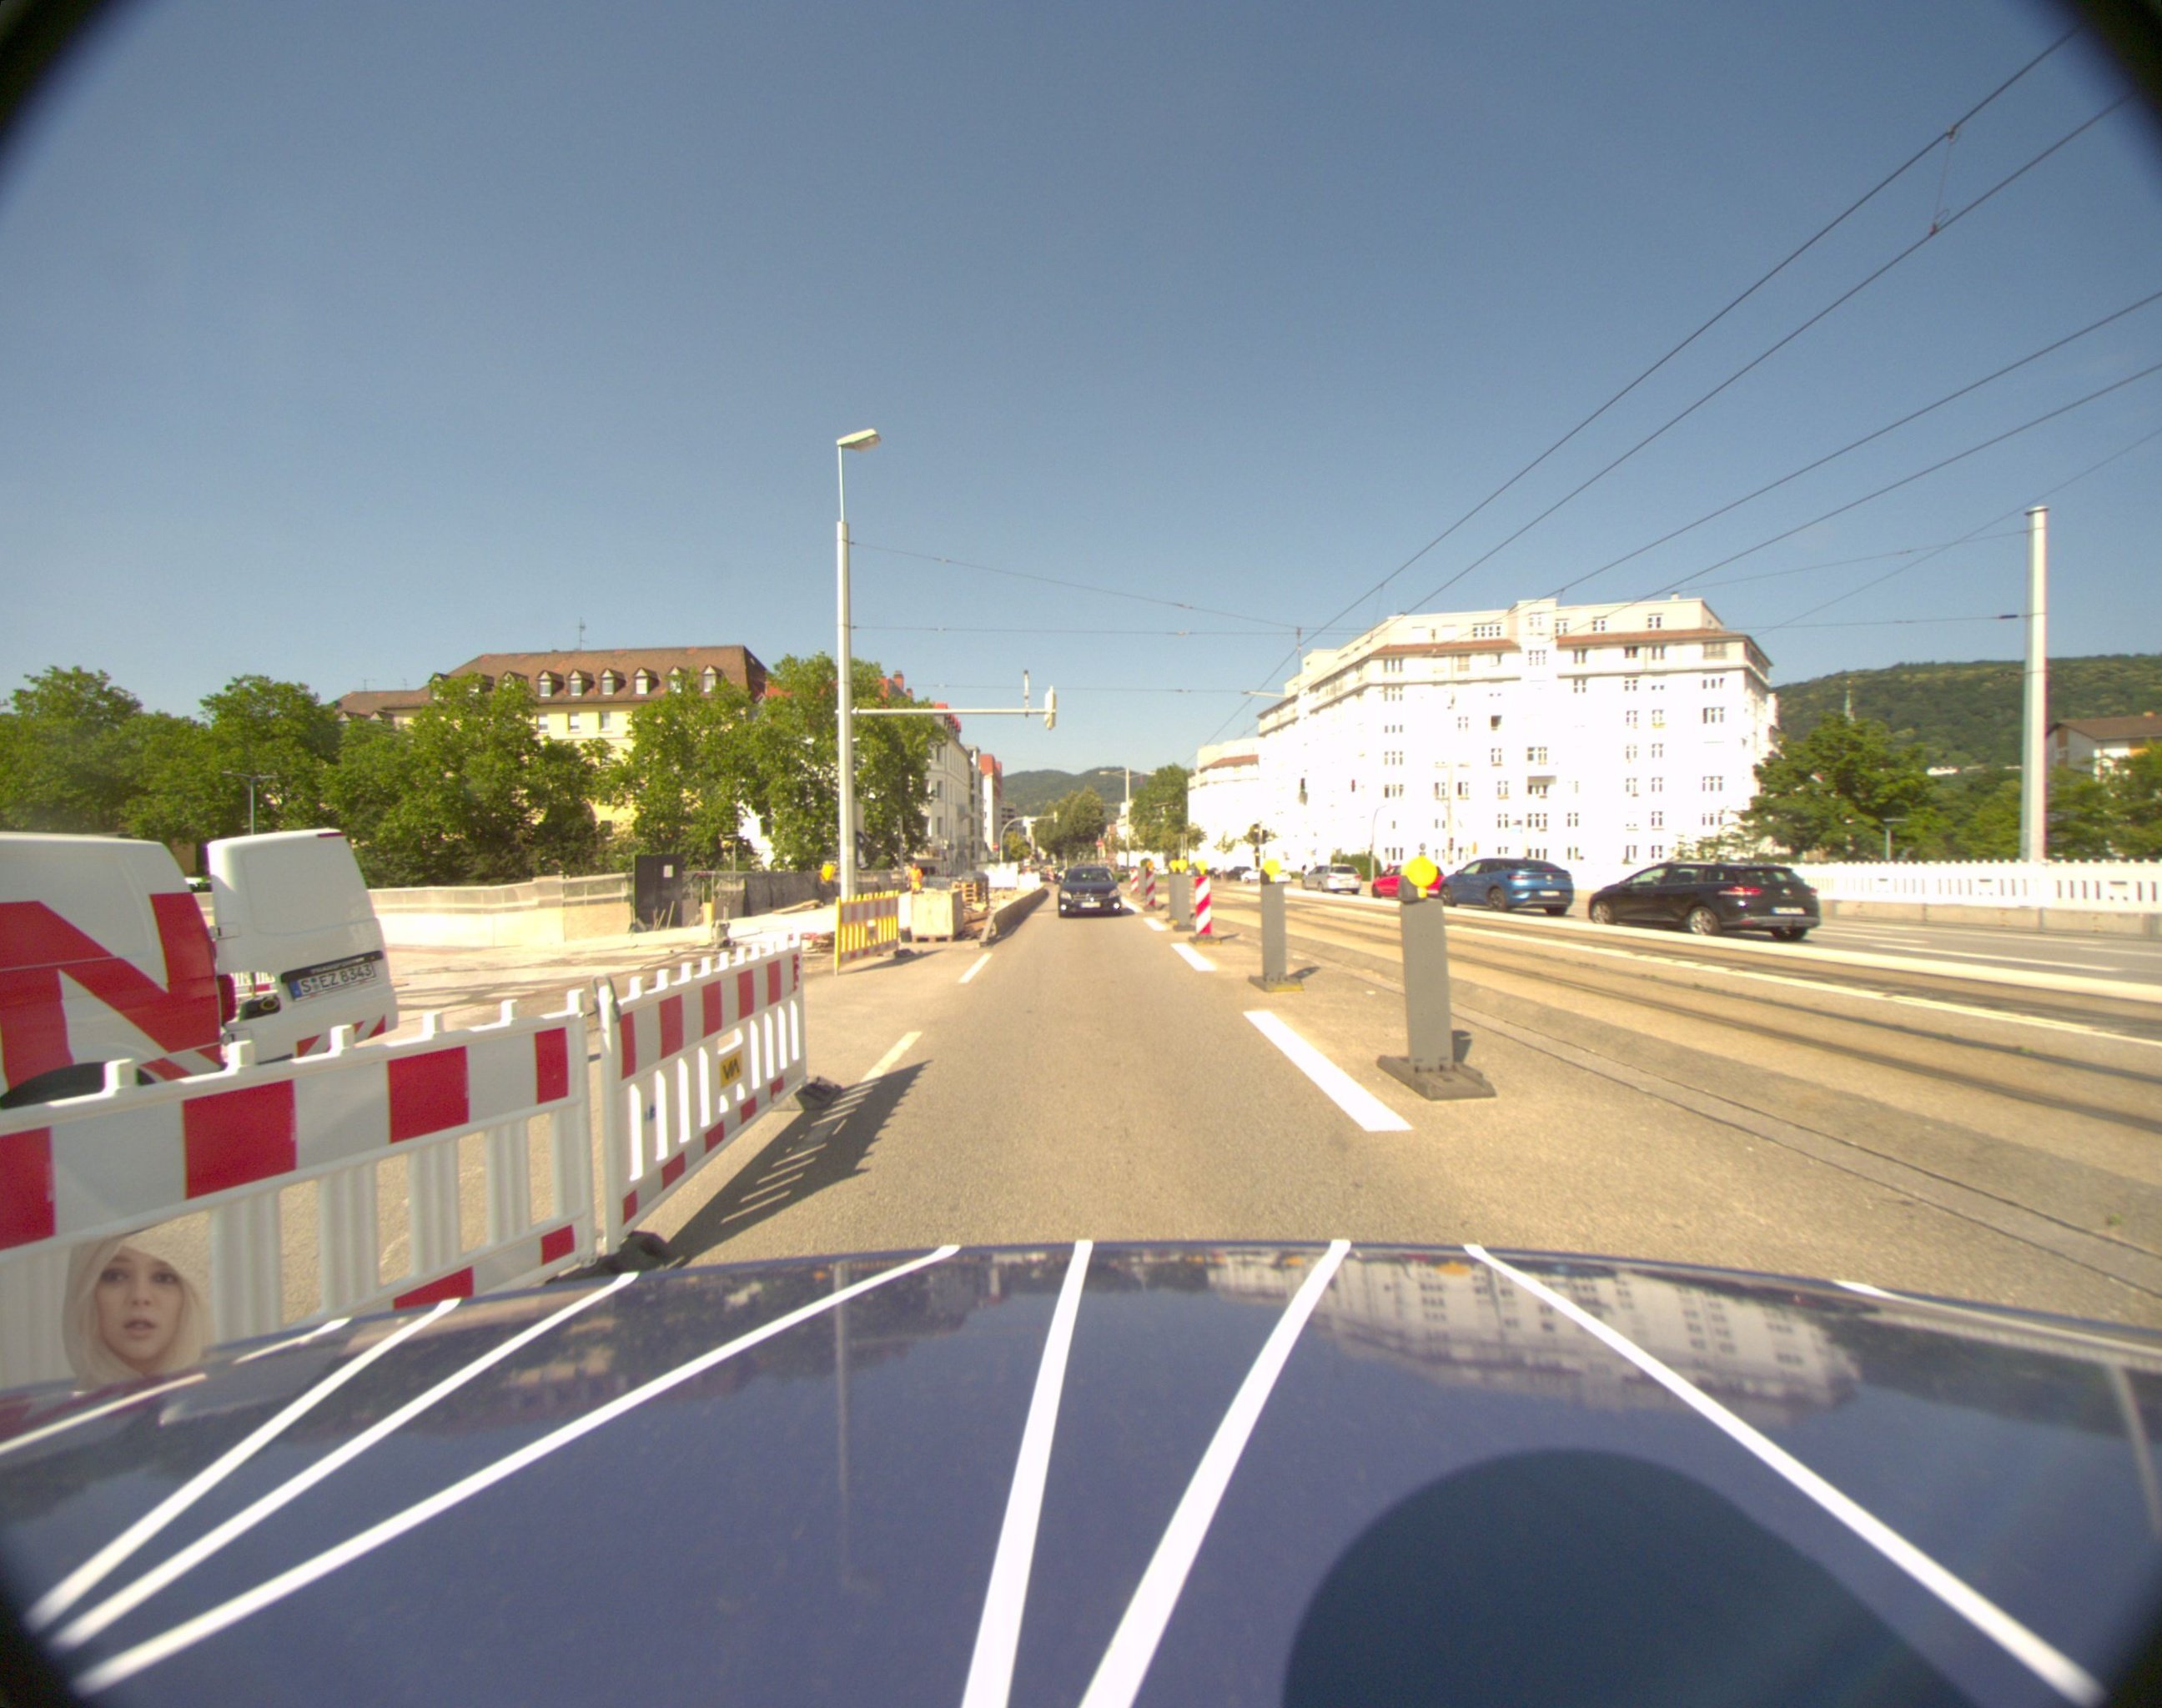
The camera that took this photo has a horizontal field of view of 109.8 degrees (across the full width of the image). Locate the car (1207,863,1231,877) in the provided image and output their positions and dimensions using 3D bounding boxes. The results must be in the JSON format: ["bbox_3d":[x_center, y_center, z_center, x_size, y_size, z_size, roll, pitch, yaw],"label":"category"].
[{"bbox_3d":[16.239,1.841,89.484,1.740,1.628,3.738,-1,0,-7],"label":"car"}]

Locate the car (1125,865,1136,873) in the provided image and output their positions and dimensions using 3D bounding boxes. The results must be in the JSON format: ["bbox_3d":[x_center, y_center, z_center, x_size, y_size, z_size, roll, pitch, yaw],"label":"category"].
[{"bbox_3d":[10.064,3.018,154.003,1.740,1.475,3.739,0,-1,-5],"label":"car"}]

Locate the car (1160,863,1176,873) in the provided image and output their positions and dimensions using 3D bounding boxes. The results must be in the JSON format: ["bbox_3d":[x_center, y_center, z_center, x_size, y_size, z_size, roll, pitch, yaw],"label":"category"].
[{"bbox_3d":[13.478,2.176,117.421,1.740,1.475,3.739,-1,0,-5],"label":"car"}]

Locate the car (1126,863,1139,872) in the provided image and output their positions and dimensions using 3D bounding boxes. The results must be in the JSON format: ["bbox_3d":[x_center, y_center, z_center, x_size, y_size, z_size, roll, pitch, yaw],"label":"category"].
[{"bbox_3d":[8.619,2.324,127.505,1.594,1.484,3.661,0,-1,-4],"label":"car"}]

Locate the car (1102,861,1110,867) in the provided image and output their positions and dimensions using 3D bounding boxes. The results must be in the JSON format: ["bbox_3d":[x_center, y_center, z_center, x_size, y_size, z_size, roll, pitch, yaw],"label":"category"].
[{"bbox_3d":[6.265,2.565,189.917,1.739,1.475,3.739,-1,0,-3],"label":"car"}]

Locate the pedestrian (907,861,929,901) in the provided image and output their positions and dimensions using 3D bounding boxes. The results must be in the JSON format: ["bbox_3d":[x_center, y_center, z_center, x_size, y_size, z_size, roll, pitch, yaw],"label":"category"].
[{"bbox_3d":[-7.286,1.199,34.011,0.821,1.784,0.864,1,0,-1],"label":"pedestrian"}]

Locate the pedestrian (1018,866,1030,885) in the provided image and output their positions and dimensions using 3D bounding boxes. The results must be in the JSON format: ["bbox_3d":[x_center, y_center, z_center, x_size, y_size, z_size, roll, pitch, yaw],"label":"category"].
[{"bbox_3d":[-5.073,1.897,67.712,1.003,1.697,0.822,-1,1,-7],"label":"pedestrian"}]

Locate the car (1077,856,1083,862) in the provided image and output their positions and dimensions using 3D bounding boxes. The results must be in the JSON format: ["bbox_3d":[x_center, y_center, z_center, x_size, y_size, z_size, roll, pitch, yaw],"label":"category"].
[{"bbox_3d":[-0.259,1.662,250.288,1.798,1.672,3.739,-1,0,-3],"label":"car"}]

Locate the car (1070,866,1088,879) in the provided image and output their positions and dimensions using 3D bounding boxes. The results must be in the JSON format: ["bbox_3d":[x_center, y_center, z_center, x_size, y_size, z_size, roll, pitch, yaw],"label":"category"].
[{"bbox_3d":[-0.243,2.037,83.049,1.767,1.346,4.000,-2,-1,-1],"label":"car"}]

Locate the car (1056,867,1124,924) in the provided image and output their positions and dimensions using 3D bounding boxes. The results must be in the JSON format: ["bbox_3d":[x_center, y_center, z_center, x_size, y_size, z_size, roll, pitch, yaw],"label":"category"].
[{"bbox_3d":[0.348,1.110,21.877,1.702,1.399,4.624,-2,-1,3],"label":"car"}]

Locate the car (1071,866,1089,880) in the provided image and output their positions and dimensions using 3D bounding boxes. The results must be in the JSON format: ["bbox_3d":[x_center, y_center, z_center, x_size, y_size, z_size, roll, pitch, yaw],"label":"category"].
[{"bbox_3d":[-0.071,1.865,75.591,1.767,1.313,4.001,-2,-1,1],"label":"car"}]

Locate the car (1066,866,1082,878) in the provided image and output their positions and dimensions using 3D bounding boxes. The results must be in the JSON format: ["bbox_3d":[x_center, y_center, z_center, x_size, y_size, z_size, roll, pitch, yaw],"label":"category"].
[{"bbox_3d":[-0.863,2.133,89.429,1.767,1.346,4.000,-2,-1,-2],"label":"car"}]

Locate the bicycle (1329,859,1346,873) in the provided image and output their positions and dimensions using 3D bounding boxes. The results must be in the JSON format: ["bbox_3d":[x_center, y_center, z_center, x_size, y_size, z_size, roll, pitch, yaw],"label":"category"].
[{"bbox_3d":[20.978,0.971,62.124,0.618,1.093,1.785,-5,1,-5],"label":"bicycle"}]

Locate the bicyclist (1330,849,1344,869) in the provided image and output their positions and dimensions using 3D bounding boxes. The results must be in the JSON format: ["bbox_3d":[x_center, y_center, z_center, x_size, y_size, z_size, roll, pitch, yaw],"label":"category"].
[{"bbox_3d":[20.930,0.379,62.068,0.623,1.580,0.917,-5,1,-6],"label":"bicyclist"}]

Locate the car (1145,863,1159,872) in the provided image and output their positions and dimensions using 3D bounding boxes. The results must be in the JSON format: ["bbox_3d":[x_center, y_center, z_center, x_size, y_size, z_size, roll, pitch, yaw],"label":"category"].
[{"bbox_3d":[12.251,2.317,130.458,1.740,1.475,3.739,-1,0,-5],"label":"car"}]

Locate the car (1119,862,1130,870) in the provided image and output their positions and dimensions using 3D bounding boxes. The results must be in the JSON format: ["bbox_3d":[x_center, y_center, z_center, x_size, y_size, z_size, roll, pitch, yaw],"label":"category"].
[{"bbox_3d":[9.205,2.561,161.942,1.740,1.475,3.739,-1,0,-5],"label":"car"}]

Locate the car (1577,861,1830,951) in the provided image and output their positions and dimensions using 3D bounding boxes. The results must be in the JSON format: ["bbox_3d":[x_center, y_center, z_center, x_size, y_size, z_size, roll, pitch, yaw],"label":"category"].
[{"bbox_3d":[11.932,0.906,14.982,1.509,1.491,4.177,1,0,-1],"label":"car"}]

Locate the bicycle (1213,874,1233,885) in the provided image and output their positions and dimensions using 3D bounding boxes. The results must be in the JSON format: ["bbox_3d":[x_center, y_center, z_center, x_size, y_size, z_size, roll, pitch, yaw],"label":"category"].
[{"bbox_3d":[13.396,2.387,71.626,1.817,0.985,0.710,-2,1,4],"label":"bicycle"}]

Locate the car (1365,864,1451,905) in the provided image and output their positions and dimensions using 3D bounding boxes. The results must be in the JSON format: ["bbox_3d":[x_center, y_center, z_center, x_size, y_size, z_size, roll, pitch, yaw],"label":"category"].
[{"bbox_3d":[12.343,1.109,28.952,1.537,1.429,3.980,0,0,0],"label":"car"}]

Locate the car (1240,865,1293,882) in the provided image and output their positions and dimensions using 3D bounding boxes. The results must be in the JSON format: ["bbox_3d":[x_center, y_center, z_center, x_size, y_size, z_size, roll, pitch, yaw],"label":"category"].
[{"bbox_3d":[15.922,1.658,65.427,1.705,1.403,4.475,0,0,-33],"label":"car"}]

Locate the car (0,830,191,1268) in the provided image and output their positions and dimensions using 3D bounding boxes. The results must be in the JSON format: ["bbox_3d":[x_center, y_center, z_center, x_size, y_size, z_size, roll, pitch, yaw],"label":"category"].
[{"bbox_3d":[-6.012,0.938,1.809,1.883,2.021,4.891,-2,0,2],"label":"car"}]

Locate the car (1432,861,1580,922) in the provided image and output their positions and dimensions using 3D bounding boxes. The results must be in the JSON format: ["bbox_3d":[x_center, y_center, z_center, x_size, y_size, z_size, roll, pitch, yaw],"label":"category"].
[{"bbox_3d":[11.968,0.985,21.779,1.674,1.541,4.556,0,0,0],"label":"car"}]

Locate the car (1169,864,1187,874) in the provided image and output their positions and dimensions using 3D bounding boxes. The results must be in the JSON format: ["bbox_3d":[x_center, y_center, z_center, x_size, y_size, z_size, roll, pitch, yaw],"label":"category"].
[{"bbox_3d":[14.052,2.145,110.257,1.740,1.475,3.739,-1,0,-5],"label":"car"}]

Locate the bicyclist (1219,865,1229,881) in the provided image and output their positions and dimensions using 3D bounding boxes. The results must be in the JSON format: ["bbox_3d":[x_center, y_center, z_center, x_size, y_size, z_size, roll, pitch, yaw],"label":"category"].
[{"bbox_3d":[13.482,1.800,71.612,0.784,1.540,0.711,-2,-3,3],"label":"bicyclist"}]

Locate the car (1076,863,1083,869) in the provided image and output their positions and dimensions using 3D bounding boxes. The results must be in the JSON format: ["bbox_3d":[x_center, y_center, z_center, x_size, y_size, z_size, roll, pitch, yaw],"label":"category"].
[{"bbox_3d":[-0.404,3.329,209.816,1.798,1.475,3.739,-1,0,-3],"label":"car"}]

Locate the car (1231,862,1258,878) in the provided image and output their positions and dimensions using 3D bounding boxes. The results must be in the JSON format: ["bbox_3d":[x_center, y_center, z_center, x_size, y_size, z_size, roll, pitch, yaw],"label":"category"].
[{"bbox_3d":[17.361,1.725,80.936,1.740,1.628,3.739,-1,0,-5],"label":"car"}]

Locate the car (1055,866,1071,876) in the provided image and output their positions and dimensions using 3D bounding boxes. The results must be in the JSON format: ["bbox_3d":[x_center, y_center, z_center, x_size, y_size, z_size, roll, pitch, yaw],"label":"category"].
[{"bbox_3d":[-2.463,2.318,102.930,1.768,1.346,3.998,-2,-1,-6],"label":"car"}]

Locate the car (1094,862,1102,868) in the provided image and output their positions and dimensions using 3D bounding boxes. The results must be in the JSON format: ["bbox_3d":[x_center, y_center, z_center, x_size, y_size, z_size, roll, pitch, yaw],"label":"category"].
[{"bbox_3d":[4.546,2.835,199.445,1.798,1.475,3.739,-1,0,-3],"label":"car"}]

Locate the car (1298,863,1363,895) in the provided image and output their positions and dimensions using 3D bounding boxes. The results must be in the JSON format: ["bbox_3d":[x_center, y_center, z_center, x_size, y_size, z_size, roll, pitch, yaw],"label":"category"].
[{"bbox_3d":[12.067,1.166,37.023,1.642,1.428,4.643,1,0,0],"label":"car"}]

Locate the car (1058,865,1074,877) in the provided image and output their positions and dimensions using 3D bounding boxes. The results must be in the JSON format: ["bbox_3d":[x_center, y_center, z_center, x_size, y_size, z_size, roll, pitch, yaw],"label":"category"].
[{"bbox_3d":[-1.894,2.107,95.520,1.767,1.346,3.999,-2,-1,-4],"label":"car"}]

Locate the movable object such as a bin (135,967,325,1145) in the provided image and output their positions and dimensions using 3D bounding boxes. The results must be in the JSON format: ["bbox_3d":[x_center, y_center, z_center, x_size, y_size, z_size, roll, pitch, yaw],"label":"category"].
[{"bbox_3d":[-6.609,1.512,5.974,0.893,1.067,0.939,-2,0,-44],"label":"movable object such as a bin"}]
